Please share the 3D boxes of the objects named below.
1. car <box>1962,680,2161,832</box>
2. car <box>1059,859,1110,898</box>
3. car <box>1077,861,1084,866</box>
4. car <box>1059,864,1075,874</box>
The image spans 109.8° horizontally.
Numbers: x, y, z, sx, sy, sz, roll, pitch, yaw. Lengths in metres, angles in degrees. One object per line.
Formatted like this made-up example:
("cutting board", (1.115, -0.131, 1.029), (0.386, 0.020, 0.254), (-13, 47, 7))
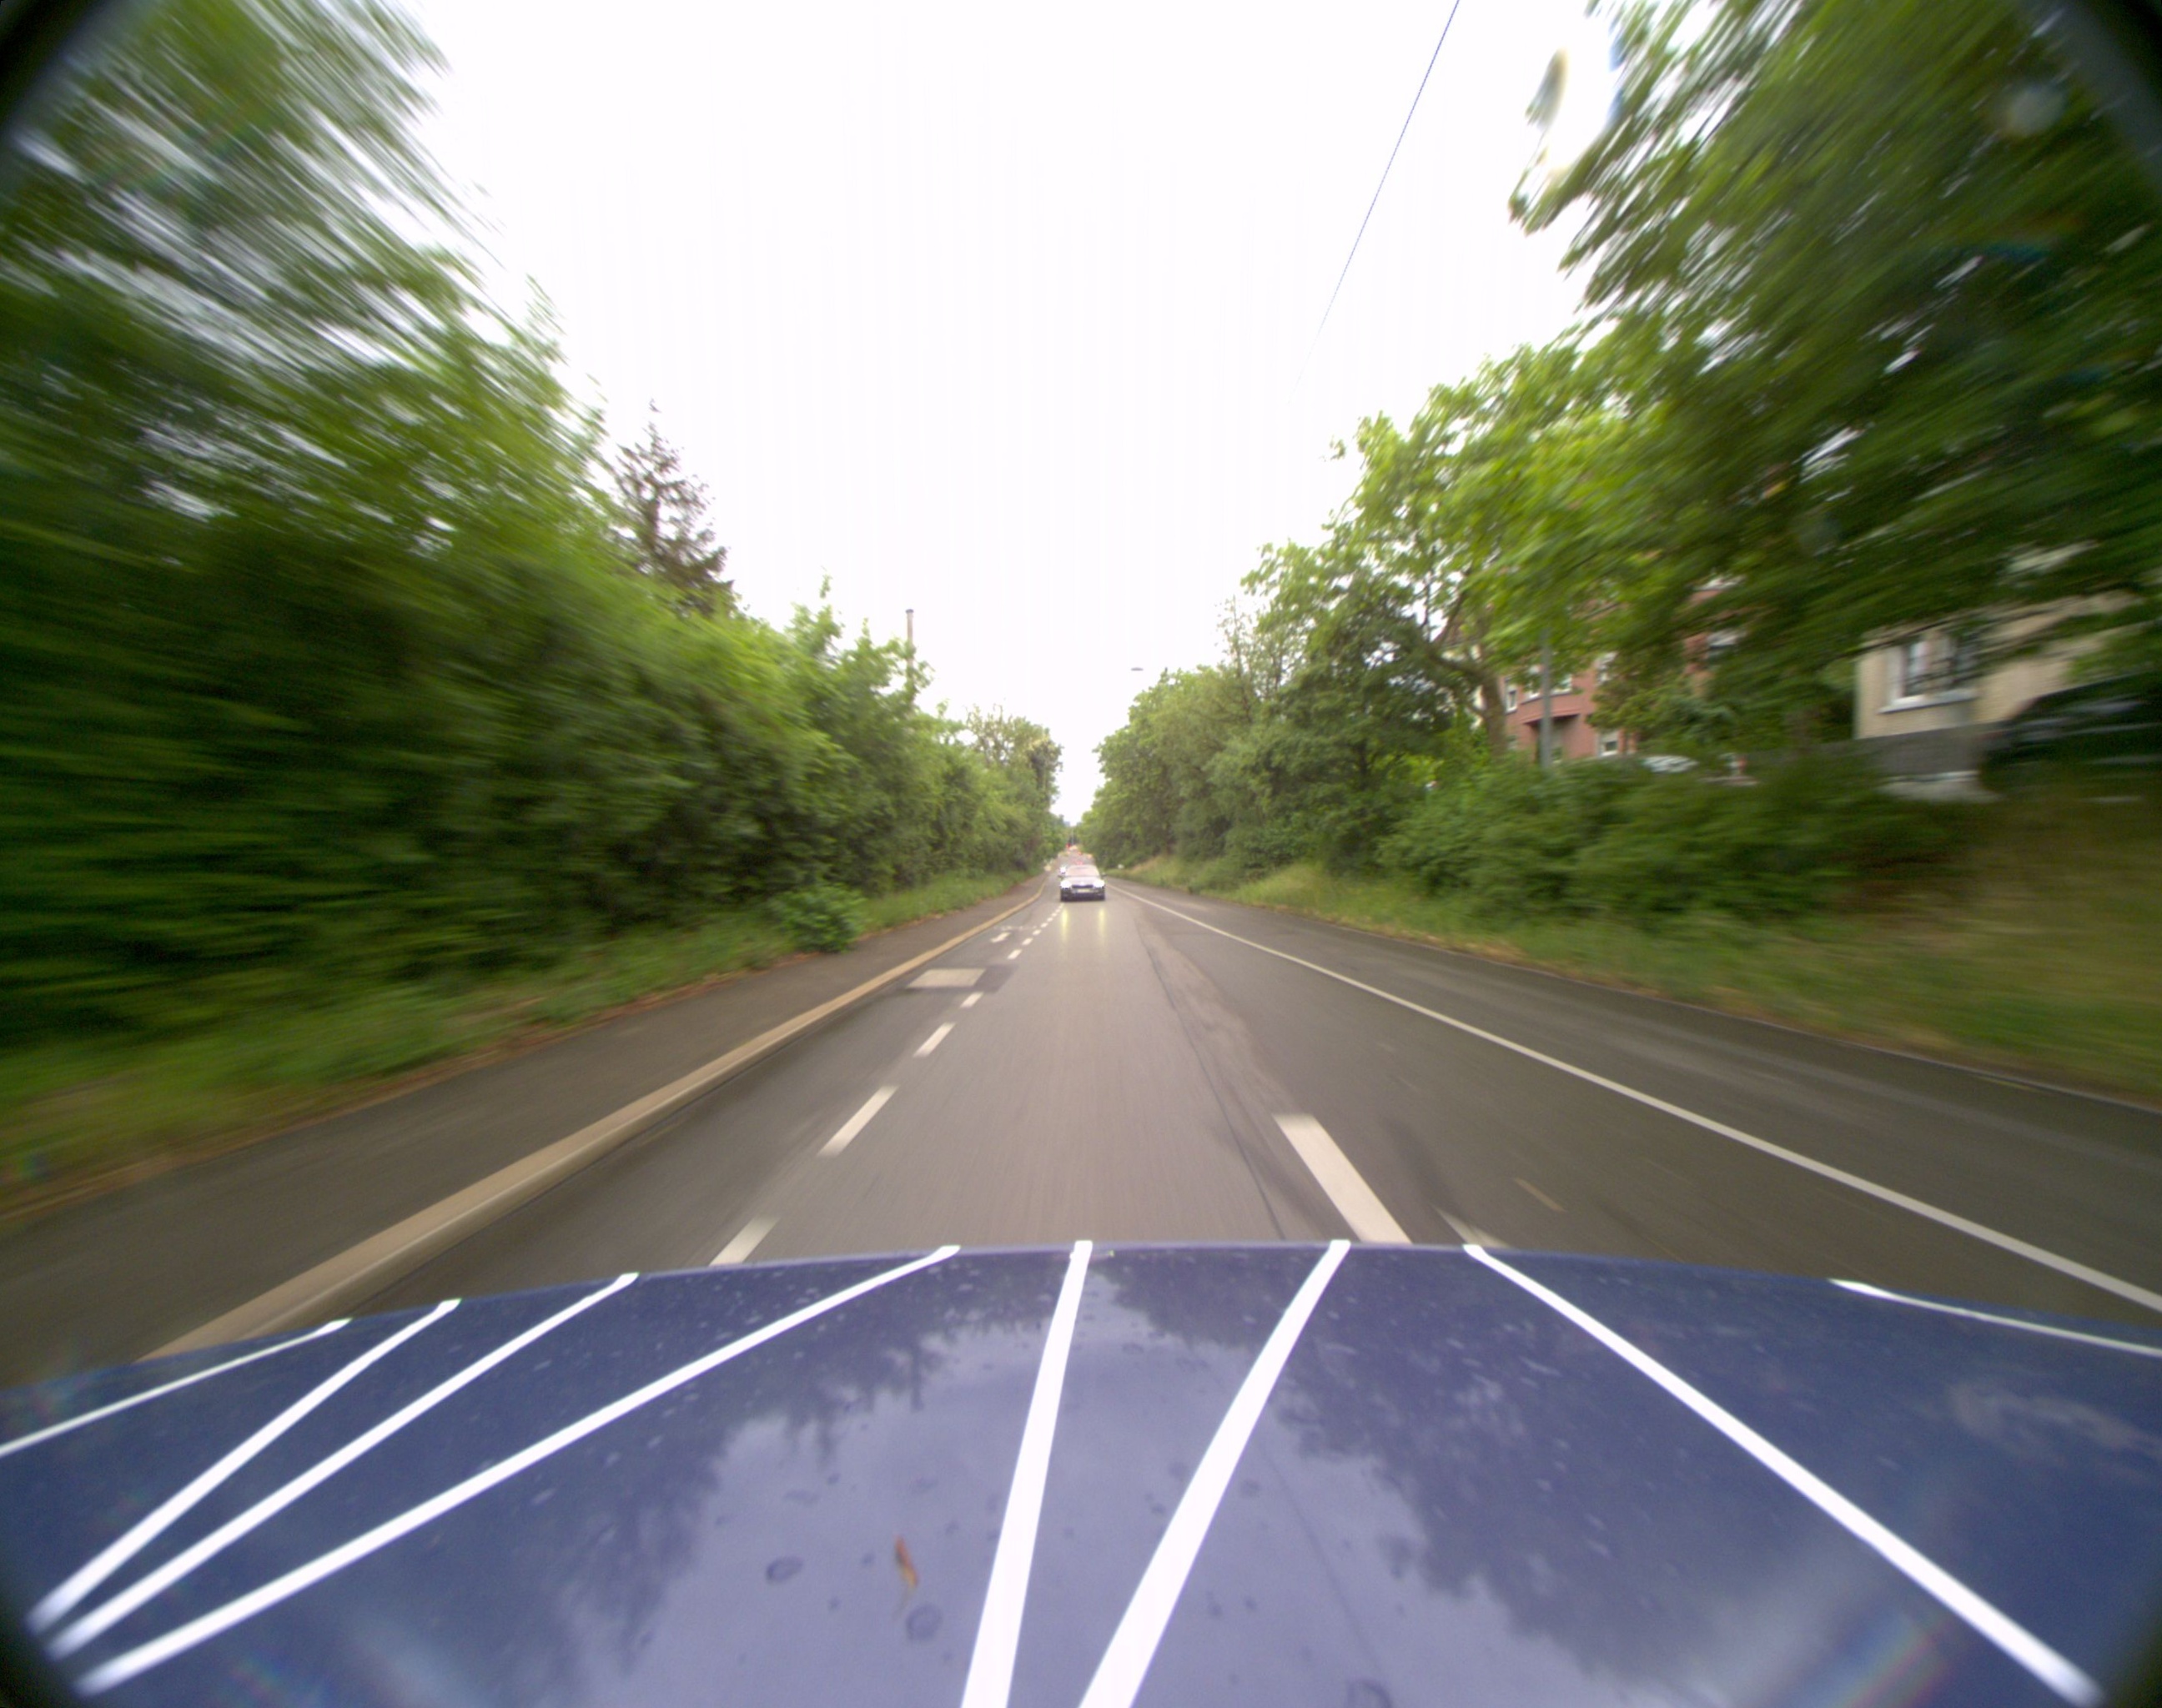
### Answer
("car", (12.333, -1.099, 7.709), (1.835, 1.548, 4.286), (-2, 0, 1))
("car", (0.068, 1.006, 32.599), (1.981, 1.497, 3.999), (-2, 0, -2))
("car", (-0.126, 3.022, 250.000), (1.981, 1.497, 3.999), (-2, 0, -2))
("car", (-2.197, 2.331, 116.904), (2.000, 1.433, 3.997), (-2, 0, -8))
